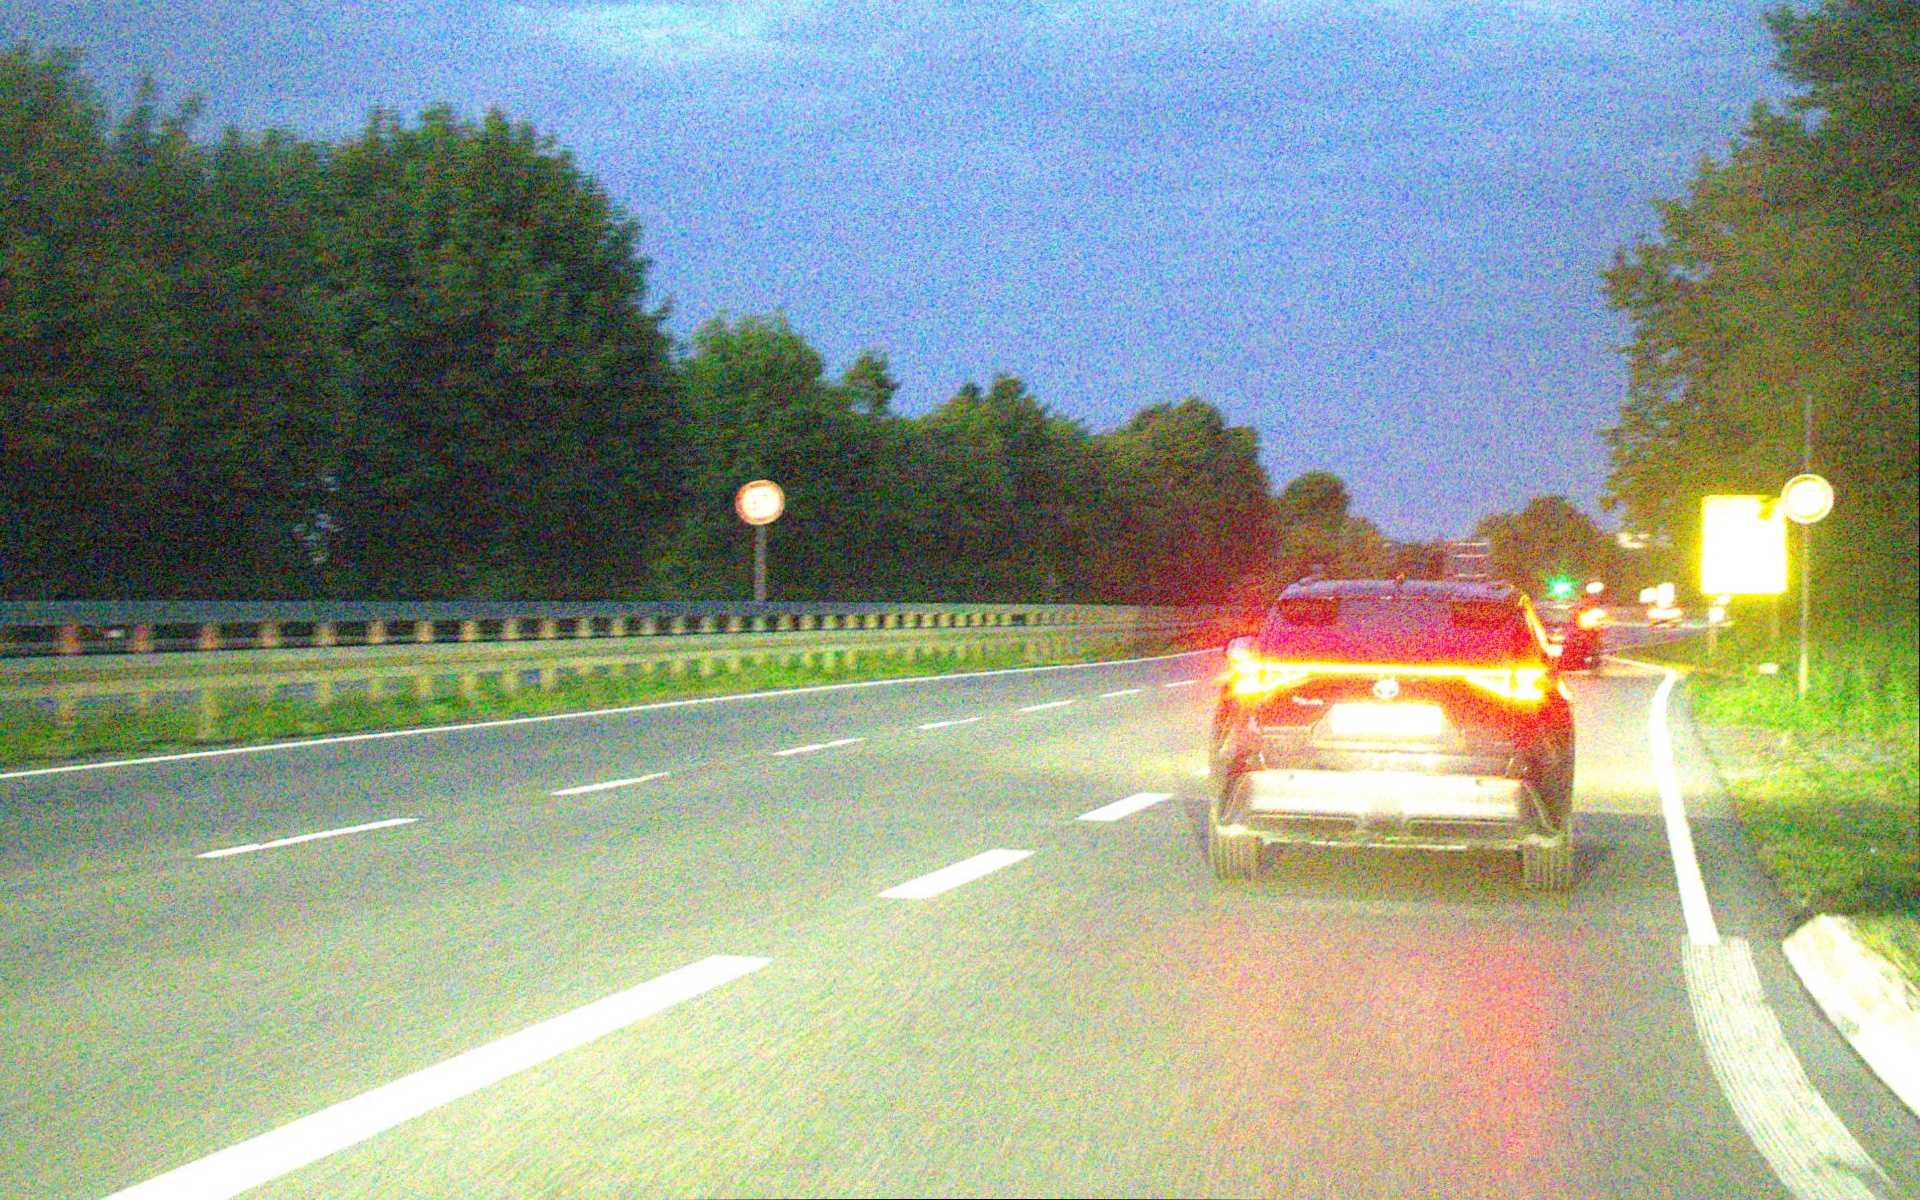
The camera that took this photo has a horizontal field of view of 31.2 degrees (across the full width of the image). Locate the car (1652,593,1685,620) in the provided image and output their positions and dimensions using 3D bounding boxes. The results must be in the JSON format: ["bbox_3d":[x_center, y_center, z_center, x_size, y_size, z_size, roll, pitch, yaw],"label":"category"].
[{"bbox_3d":[50.042,0.492,242.774,1.995,1.744,3.997,-3,-2,14],"label":"car"}]

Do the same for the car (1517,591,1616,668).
[{"bbox_3d":[12.052,0.558,68.149,1.754,1.448,4.430,1,0,12],"label":"car"}]

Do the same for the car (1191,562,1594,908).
[{"bbox_3d":[2.474,0.640,19.023,1.902,1.614,4.554,2,1,9],"label":"car"}]
